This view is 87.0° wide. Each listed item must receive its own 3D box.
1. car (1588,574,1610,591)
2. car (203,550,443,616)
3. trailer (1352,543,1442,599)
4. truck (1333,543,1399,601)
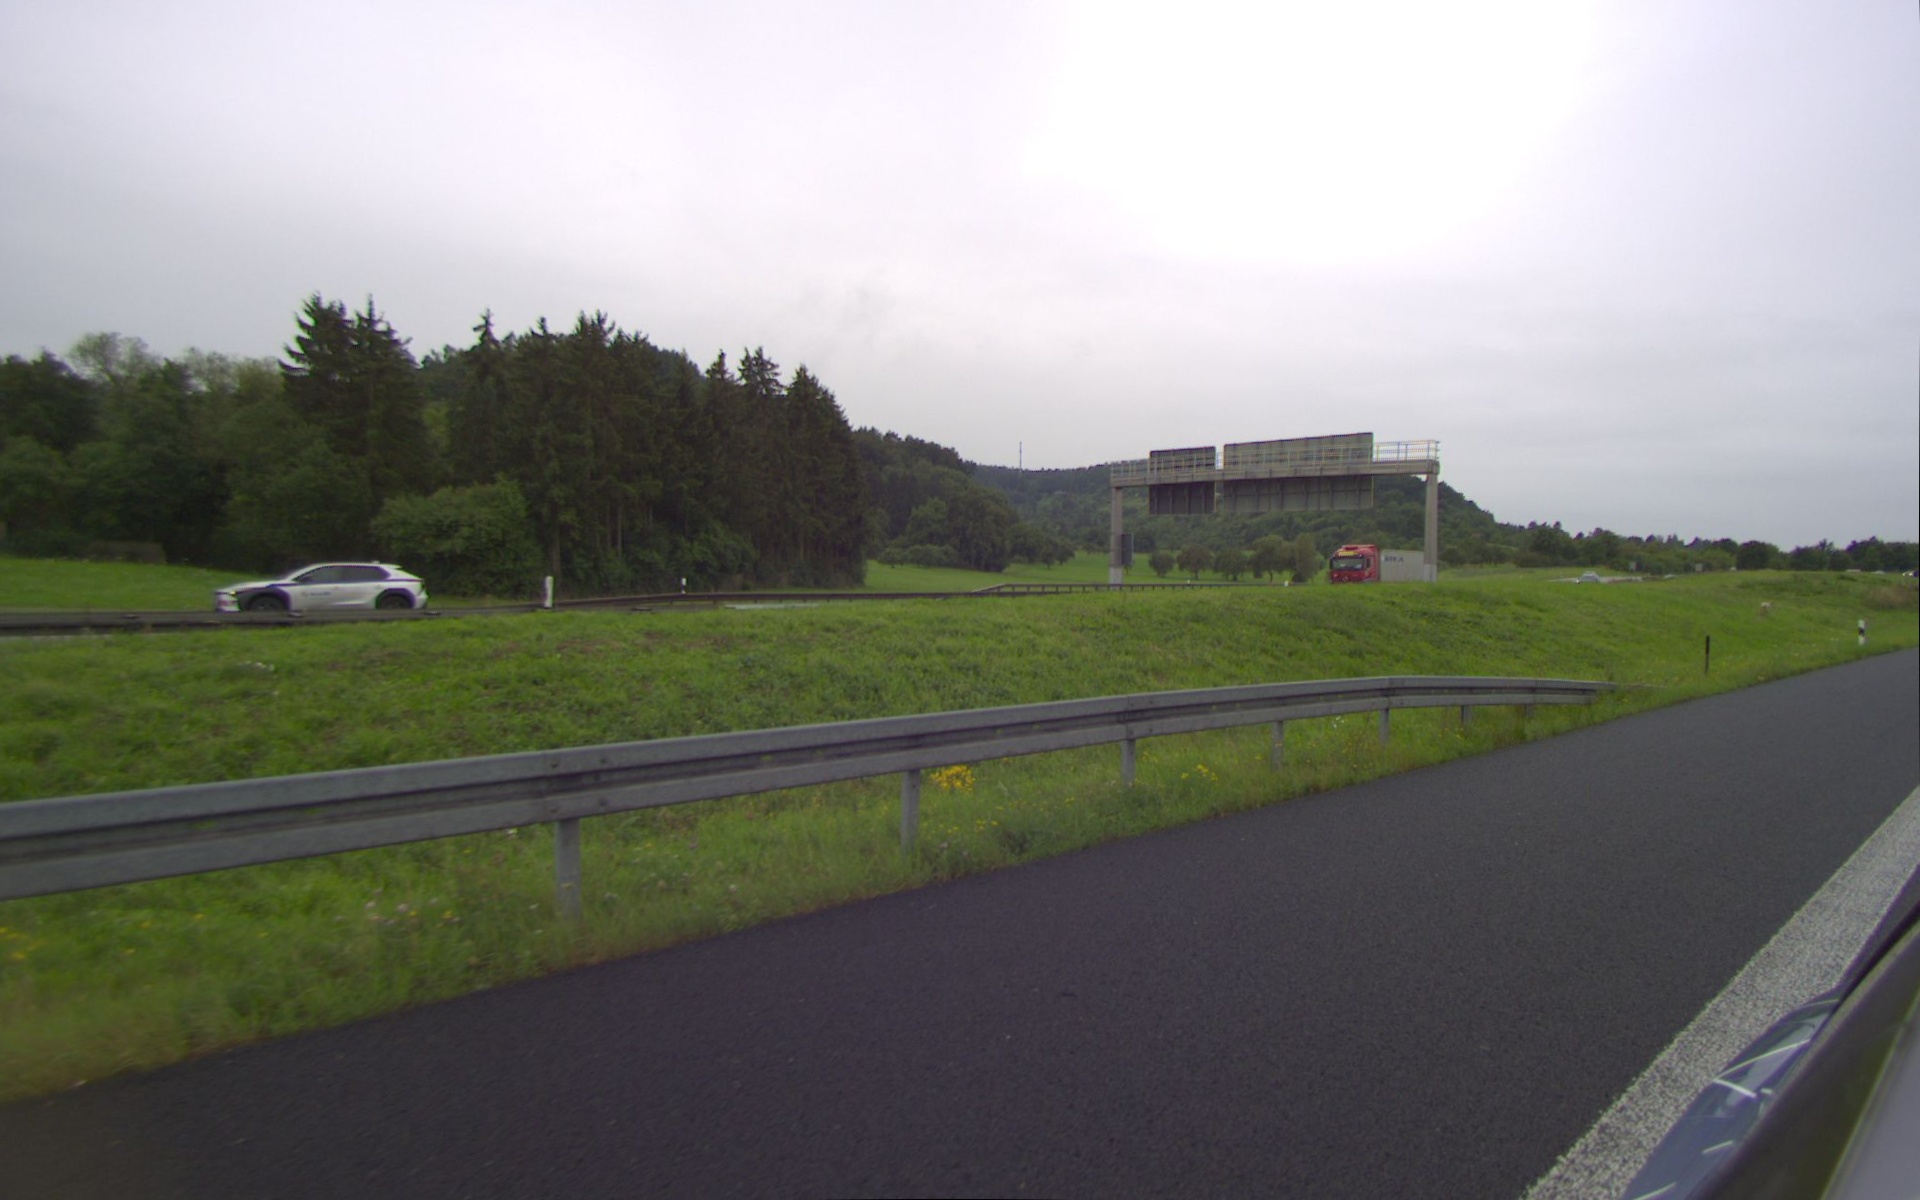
[{"bbox_3d":[79.323,-2.167,125.659,1.647,2.039,3.940,2,1,41],"label":"car"},{"bbox_3d":[-16.254,-0.426,26.022,4.950,1.522,1.820,0,1,-45],"label":"car"},{"bbox_3d":[34.192,-2.127,78.842,2.490,4.034,12.212,-1,0,43],"label":"trailer"},{"bbox_3d":[29.827,-1.993,74.177,2.508,4.037,5.835,-1,0,43],"label":"truck"}]
